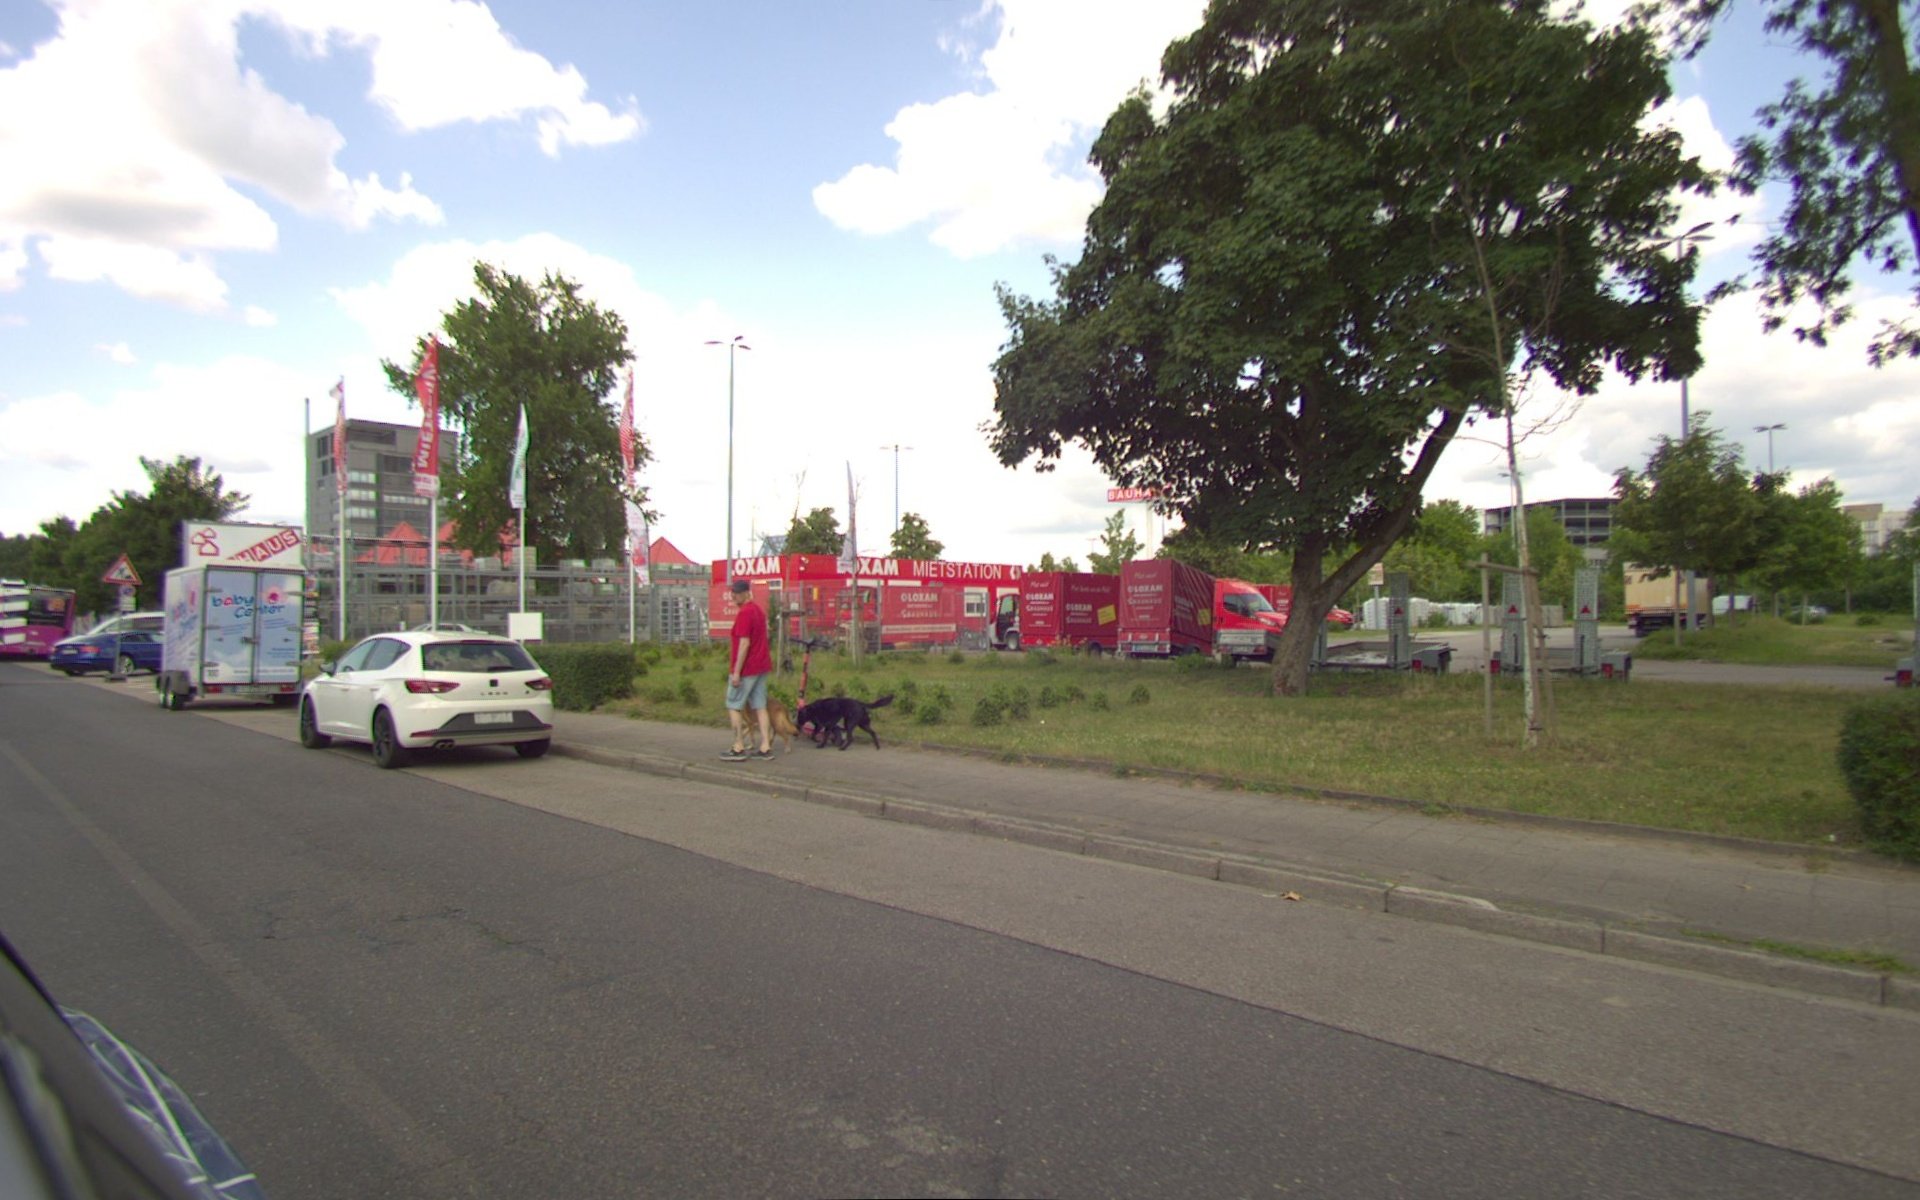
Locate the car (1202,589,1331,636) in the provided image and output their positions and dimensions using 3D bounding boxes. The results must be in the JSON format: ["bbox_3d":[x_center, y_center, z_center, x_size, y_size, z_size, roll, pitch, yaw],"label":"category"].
[{"bbox_3d":[16.737,0.629,55.556,6.438,2.433,2.242,1,1,42],"label":"car"}]

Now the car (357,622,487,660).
[{"bbox_3d":[-23.243,1.742,43.860,1.955,1.465,4.632,-2,-1,44],"label":"car"}]

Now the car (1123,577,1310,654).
[{"bbox_3d":[9.336,0.476,37.321,6.440,2.613,2.241,1,1,43],"label":"car"}]

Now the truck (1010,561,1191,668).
[{"bbox_3d":[3.925,0.347,27.388,1.816,2.613,5.689,1,1,44],"label":"truck"}]

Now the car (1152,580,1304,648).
[{"bbox_3d":[11.005,0.504,41.913,5.724,2.613,2.241,1,1,43],"label":"car"}]

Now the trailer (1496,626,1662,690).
[{"bbox_3d":[11.701,1.014,19.019,2.022,0.919,4.190,1,1,41],"label":"trailer"}]

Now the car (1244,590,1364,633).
[{"bbox_3d":[20.443,0.628,60.410,6.438,2.433,2.242,1,1,42],"label":"car"}]

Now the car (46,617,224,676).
[{"bbox_3d":[-30.070,1.641,37.011,4.939,1.964,1.995,0,-1,-42],"label":"car"}]

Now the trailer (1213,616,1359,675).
[{"bbox_3d":[7.479,0.964,22.998,1.671,1.129,4.190,1,1,41],"label":"trailer"}]

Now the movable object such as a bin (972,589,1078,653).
[{"bbox_3d":[2.424,0.779,38.049,3.545,2.292,1.972,-2,-1,43],"label":"movable object such as a bin"}]

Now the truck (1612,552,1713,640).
[{"bbox_3d":[34.758,-0.203,49.929,2.988,3.979,8.232,1,1,43],"label":"truck"}]

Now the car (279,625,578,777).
[{"bbox_3d":[-6.428,1.083,12.043,4.234,1.490,1.746,-2,-4,42],"label":"car"}]

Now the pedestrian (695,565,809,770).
[{"bbox_3d":[-2.192,0.672,10.639,0.885,2.029,0.800,-1,-1,42],"label":"pedestrian"}]

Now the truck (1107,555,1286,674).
[{"bbox_3d":[5.920,0.307,24.843,1.780,2.613,5.487,1,1,43],"label":"truck"}]

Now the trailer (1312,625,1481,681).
[{"bbox_3d":[9.326,1.050,21.437,2.158,0.919,4.190,1,1,41],"label":"trailer"}]

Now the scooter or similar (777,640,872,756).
[{"bbox_3d":[-1.562,1.079,11.556,0.510,1.202,1.283,-1,0,-36],"label":"scooter or similar"}]

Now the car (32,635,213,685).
[{"bbox_3d":[-26.185,1.832,31.880,1.905,1.387,4.373,-1,-1,5],"label":"car"}]

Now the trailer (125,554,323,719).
[{"bbox_3d":[-14.288,0.708,19.538,4.702,2.804,2.116,-2,-4,42],"label":"trailer"}]

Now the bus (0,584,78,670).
[{"bbox_3d":[-43.110,1.257,46.275,13.217,3.449,2.634,-2,-5,43],"label":"bus"}]
